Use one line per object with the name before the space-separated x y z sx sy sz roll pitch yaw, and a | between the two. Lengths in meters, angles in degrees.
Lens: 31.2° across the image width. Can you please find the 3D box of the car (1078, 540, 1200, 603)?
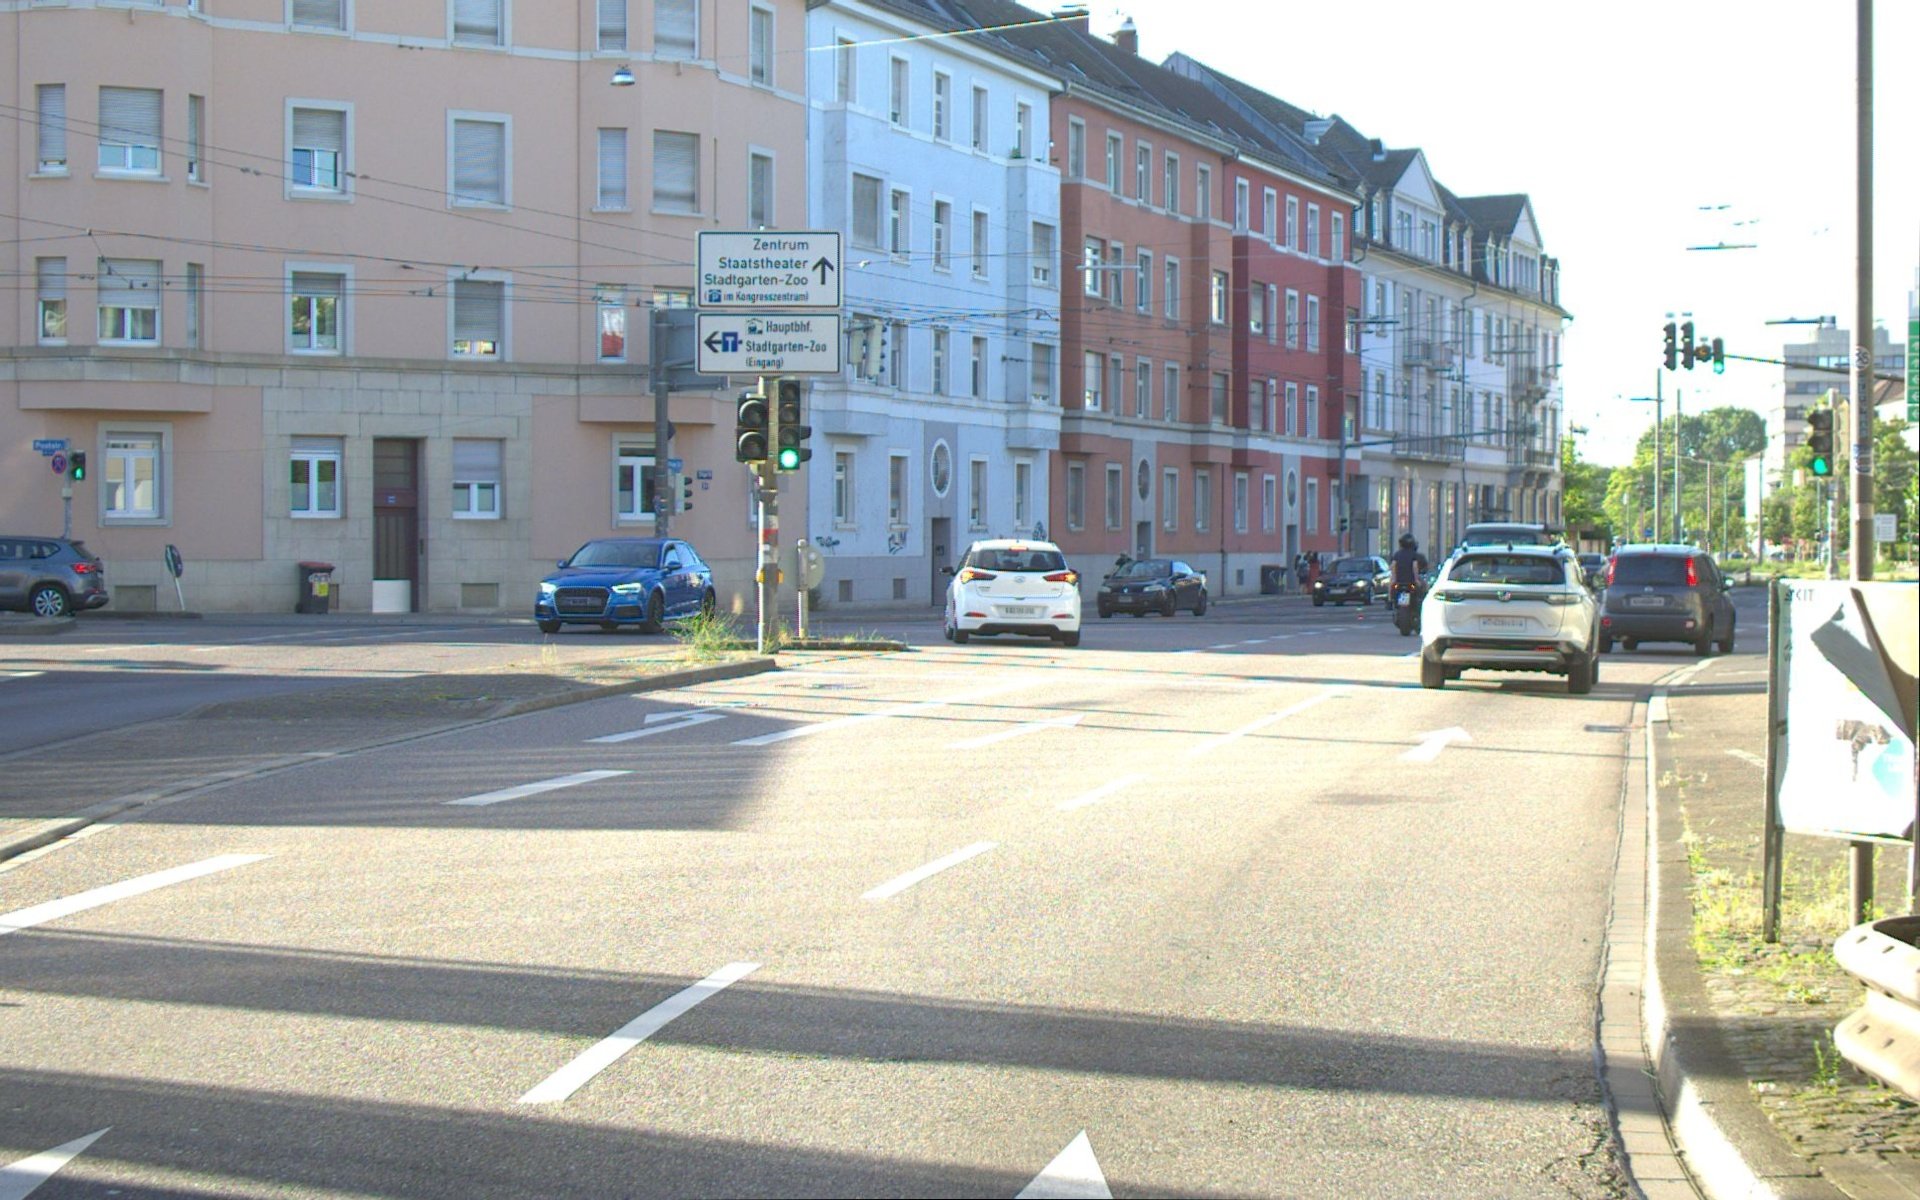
car | 4.216 -0.679 80.518 1.825 1.421 4.324 1 1 17

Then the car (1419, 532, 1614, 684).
car | 5.993 0.040 37.204 1.948 1.523 4.088 1 1 8

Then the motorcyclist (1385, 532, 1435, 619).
motorcyclist | 7.431 -0.412 56.753 0.777 1.418 0.891 0 1 10

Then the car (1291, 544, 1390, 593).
car | 11.295 -0.947 101.831 1.995 1.387 4.558 1 1 18

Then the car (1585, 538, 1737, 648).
car | 10.201 -0.135 49.823 1.732 1.495 3.997 1 1 17

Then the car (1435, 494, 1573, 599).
car | 10.842 -1.070 68.249 2.173 2.002 4.805 0 1 16

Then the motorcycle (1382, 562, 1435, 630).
motorcycle | 7.422 -0.079 56.833 0.777 1.078 2.280 0 1 10

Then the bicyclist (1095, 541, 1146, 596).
bicyclist | 4.090 -0.809 87.569 0.935 1.377 1.146 1 1 25

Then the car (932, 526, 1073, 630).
car | 0.559 -0.332 48.195 1.786 1.389 4.106 0 1 -2

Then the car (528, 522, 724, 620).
car | -4.946 -0.463 51.465 1.811 1.386 4.245 1 1 10

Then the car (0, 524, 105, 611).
car | -17.860 -0.621 63.405 3.867 1.568 1.931 0 1 -8
